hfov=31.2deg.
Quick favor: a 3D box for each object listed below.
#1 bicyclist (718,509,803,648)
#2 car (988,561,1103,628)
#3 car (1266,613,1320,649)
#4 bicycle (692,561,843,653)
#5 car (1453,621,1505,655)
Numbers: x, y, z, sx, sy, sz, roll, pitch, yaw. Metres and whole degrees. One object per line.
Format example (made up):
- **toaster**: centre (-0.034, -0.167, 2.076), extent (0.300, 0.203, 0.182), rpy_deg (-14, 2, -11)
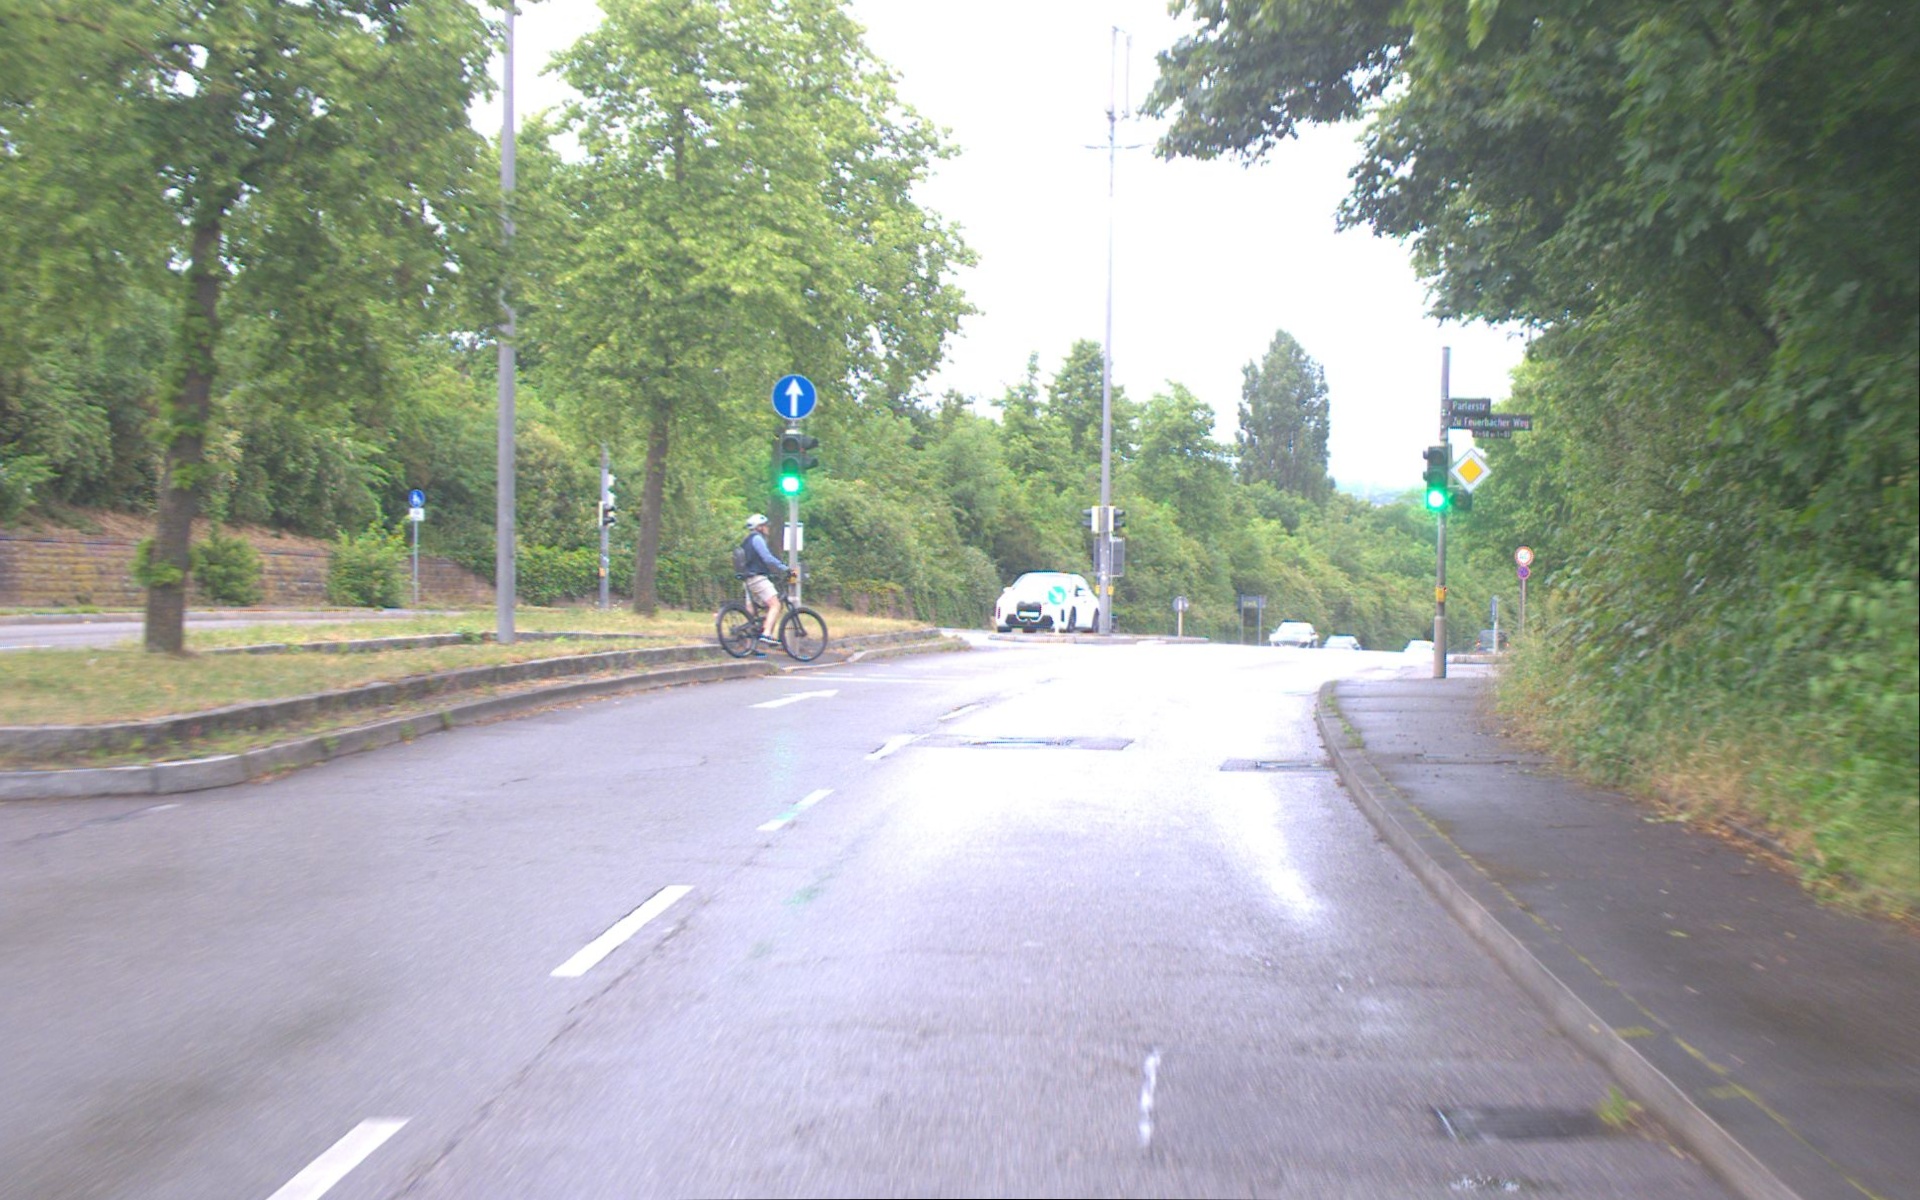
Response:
- **bicyclist**: centre (-2.575, -0.271, 44.433), extent (0.724, 1.746, 0.799), rpy_deg (-2, -3, 43)
- **car**: centre (2.292, -0.131, 90.663), extent (1.946, 1.630, 5.001), rpy_deg (2, 0, 14)
- **car**: centre (14.516, 1.365, 149.614), extent (1.779, 1.467, 4.642), rpy_deg (2, -1, 12)
- **bicycle**: centre (-2.479, 0.096, 44.500), extent (0.553, 1.139, 2.134), rpy_deg (2, 0, 43)
- **car**: centre (25.383, 1.868, 168.001), extent (1.946, 1.585, 3.924), rpy_deg (2, 0, 17)
